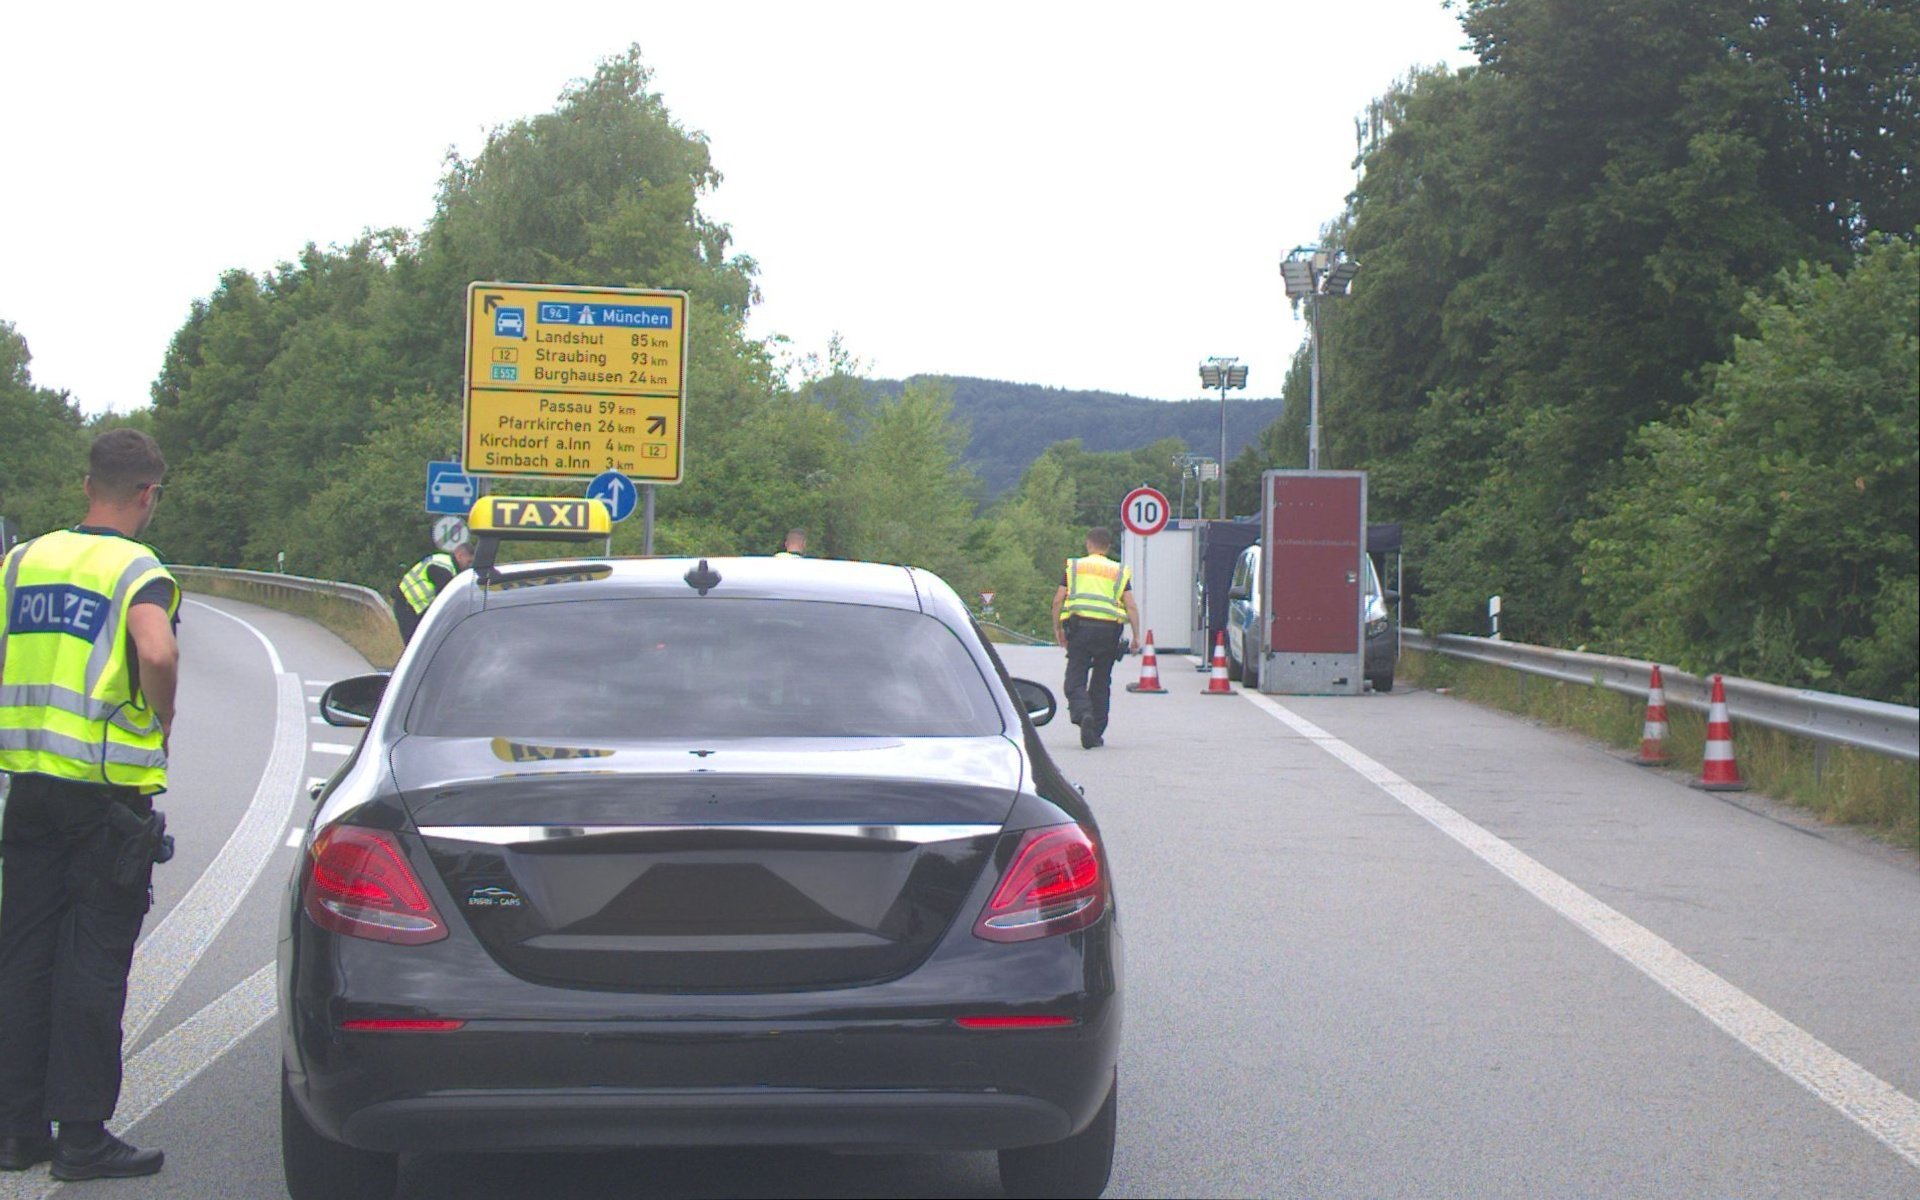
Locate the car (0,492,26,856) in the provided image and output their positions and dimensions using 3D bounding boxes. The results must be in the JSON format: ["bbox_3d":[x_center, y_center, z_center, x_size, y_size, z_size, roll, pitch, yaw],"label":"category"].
[{"bbox_3d":[-5.400,0.371,14.937,1.868,1.737,4.009,0,1,-4],"label":"car"}]

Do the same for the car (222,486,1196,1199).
[{"bbox_3d":[-0.671,0.548,8.774,1.855,1.589,4.376,0,1,-5],"label":"car"}]

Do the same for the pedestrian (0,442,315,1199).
[{"bbox_3d":[-2.060,0.508,7.962,0.761,1.712,0.816,1,1,37],"label":"pedestrian"}]

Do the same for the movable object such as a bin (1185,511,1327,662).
[{"bbox_3d":[4.649,-0.238,54.566,1.993,2.272,4.168,1,1,2],"label":"movable object such as a bin"}]

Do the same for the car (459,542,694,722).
[{"bbox_3d":[-3.350,0.233,30.714,1.855,1.493,4.257,0,1,-3],"label":"car"}]

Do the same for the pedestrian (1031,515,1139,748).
[{"bbox_3d":[0.987,0.240,27.367,0.812,1.824,0.809,0,1,-1],"label":"pedestrian"}]

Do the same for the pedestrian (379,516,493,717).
[{"bbox_3d":[-4.671,0.140,30.711,0.910,1.763,0.912,1,1,-3],"label":"pedestrian"}]

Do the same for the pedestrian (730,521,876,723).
[{"bbox_3d":[-1.351,0.179,29.479,0.908,1.692,0.914,0,1,-32],"label":"pedestrian"}]

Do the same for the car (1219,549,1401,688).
[{"bbox_3d":[4.588,0.192,45.727,1.916,1.672,5.083,2,1,1],"label":"car"}]
